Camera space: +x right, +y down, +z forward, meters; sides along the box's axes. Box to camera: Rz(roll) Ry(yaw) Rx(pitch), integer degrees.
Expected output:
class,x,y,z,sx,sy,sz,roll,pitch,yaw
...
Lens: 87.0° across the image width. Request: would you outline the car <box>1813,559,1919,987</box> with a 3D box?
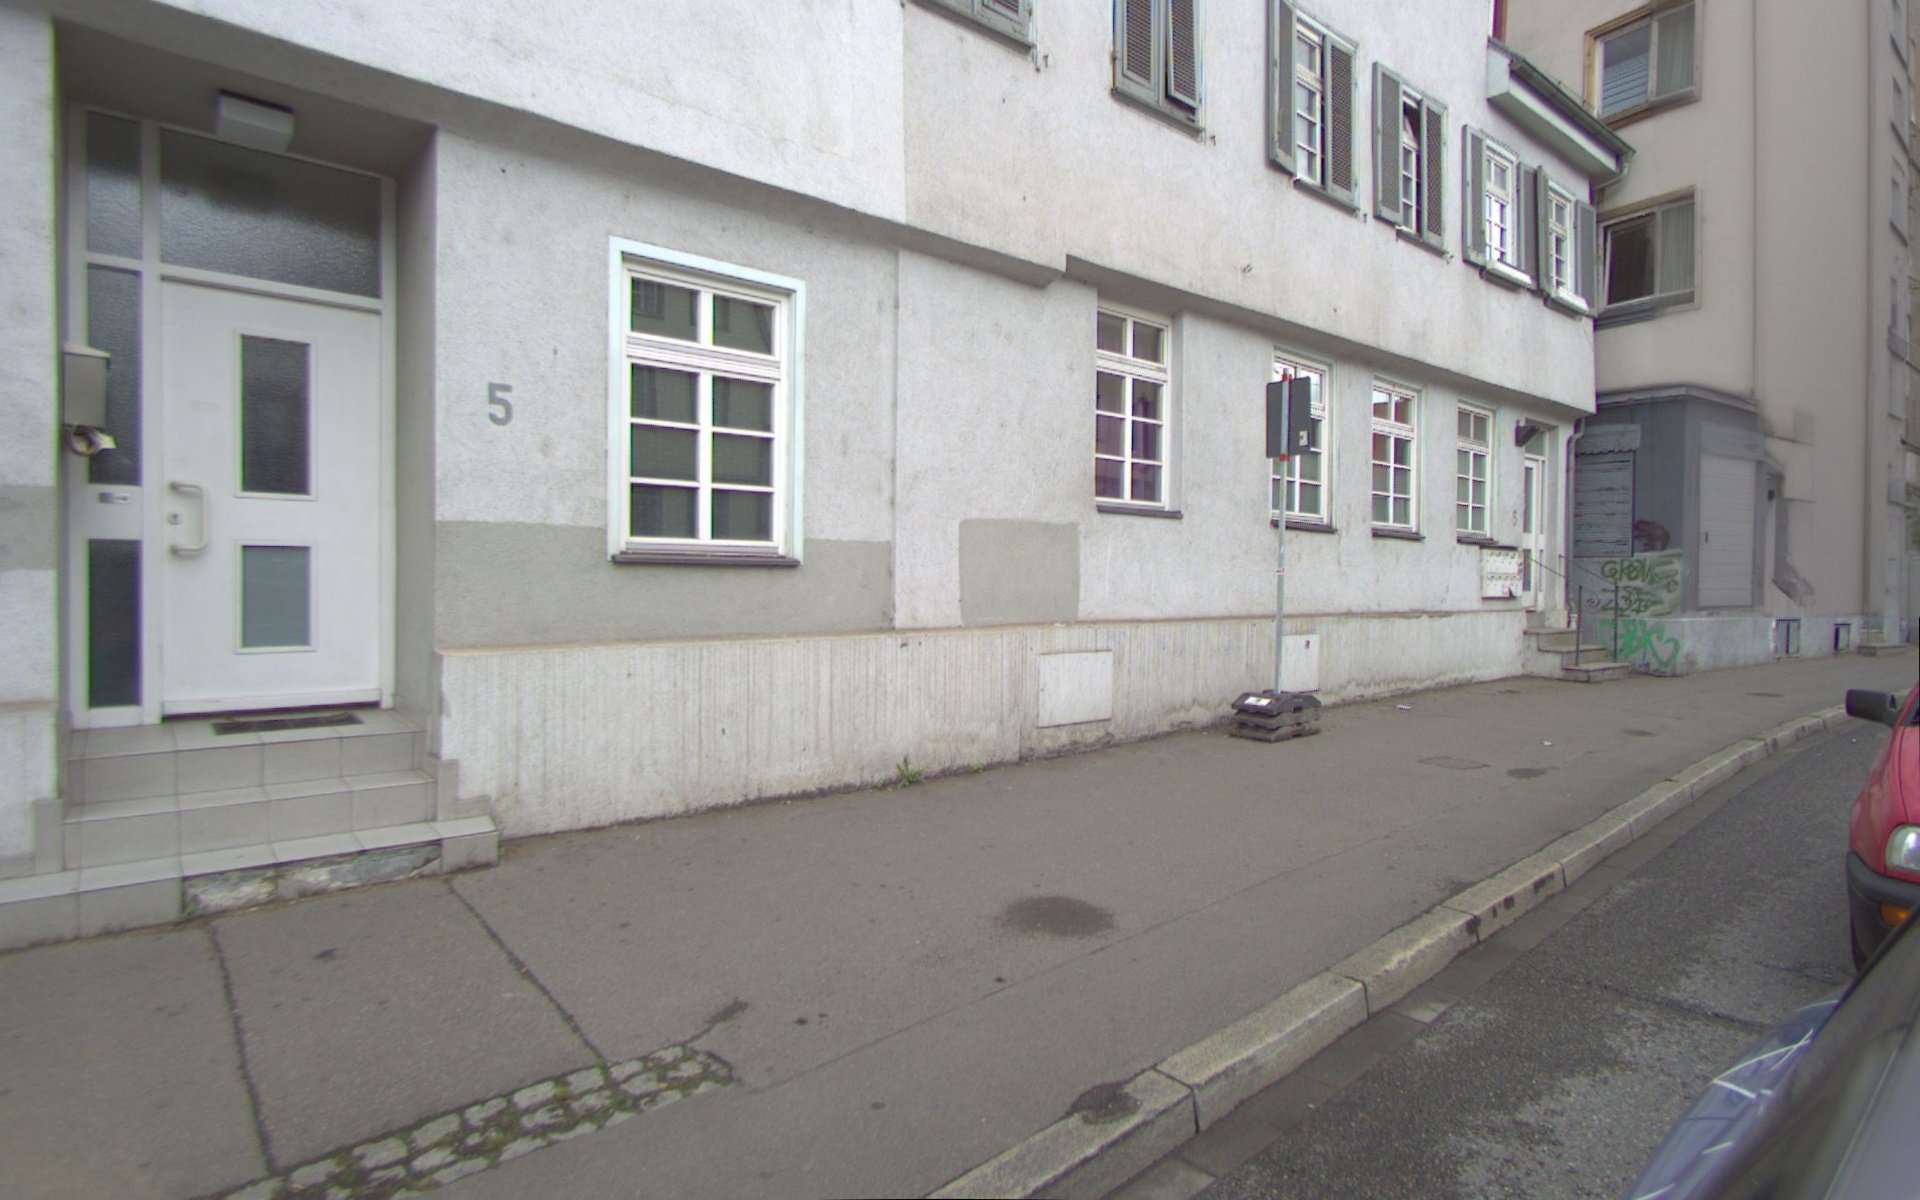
class,x,y,z,sx,sy,sz,roll,pitch,yaw
car,5.226,0.582,4.322,3.930,1.485,1.802,0,-1,-41
